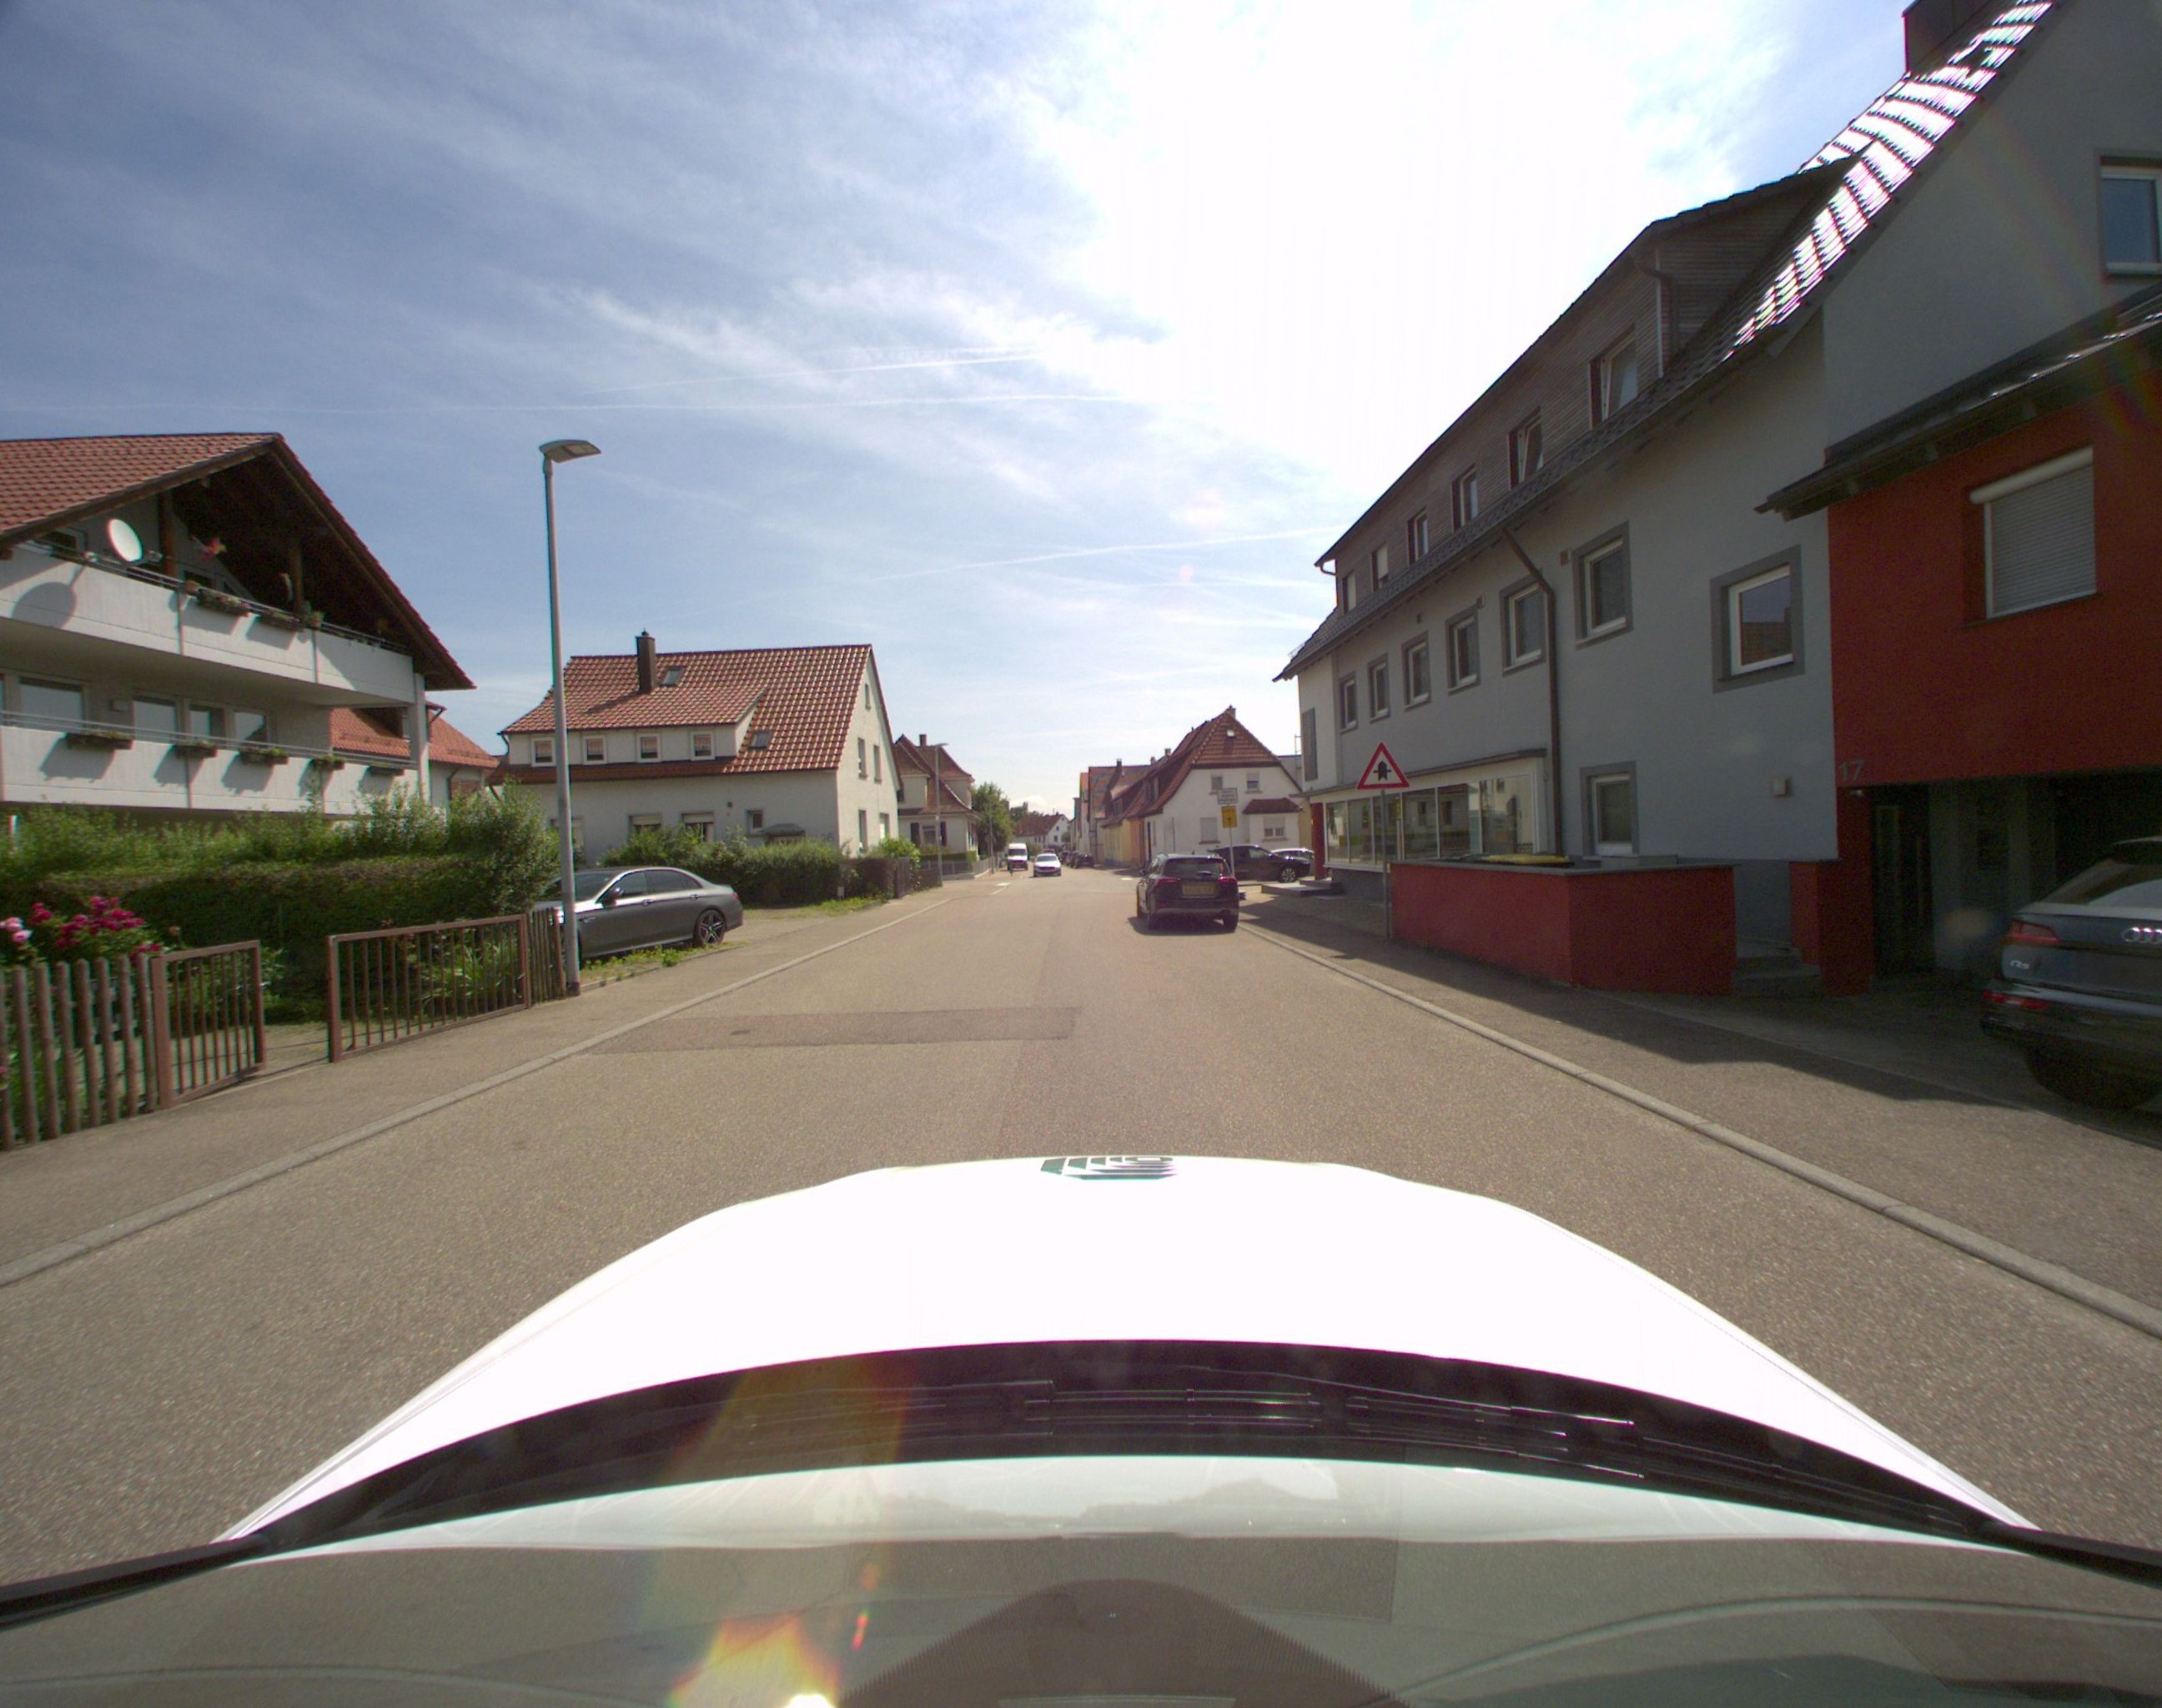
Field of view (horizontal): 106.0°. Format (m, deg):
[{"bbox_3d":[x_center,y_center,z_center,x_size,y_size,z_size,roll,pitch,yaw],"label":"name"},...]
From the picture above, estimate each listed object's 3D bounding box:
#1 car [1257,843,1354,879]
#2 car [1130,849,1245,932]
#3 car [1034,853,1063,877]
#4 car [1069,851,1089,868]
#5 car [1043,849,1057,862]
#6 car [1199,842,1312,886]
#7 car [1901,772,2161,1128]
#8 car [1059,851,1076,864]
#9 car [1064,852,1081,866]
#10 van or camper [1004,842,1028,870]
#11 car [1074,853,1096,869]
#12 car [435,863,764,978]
[{"bbox_3d":[10.253,0.289,37.400,3.972,1.504,1.695,-2,0,1],"label":"car"},{"bbox_3d":[2.133,0.678,17.487,1.757,1.527,4.403,-1,0,-2],"label":"car"},{"bbox_3d":[-2.141,0.670,53.167,1.749,1.438,4.583,-2,0,-3],"label":"car"},{"bbox_3d":[-0.220,0.496,80.204,1.725,1.599,4.248,-2,0,-3],"label":"car"},{"bbox_3d":[-5.784,0.271,152.151,2.120,2.158,4.739,-2,0,2],"label":"car"},{"bbox_3d":[7.094,0.389,33.430,4.274,1.653,1.850,-2,0,4],"label":"car"},{"bbox_3d":[7.247,0.579,4.146,4.357,1.668,1.875,4,0,-3],"label":"car"},{"bbox_3d":[-1.825,0.464,107.110,1.873,1.700,4.174,-2,0,-6],"label":"car"},{"bbox_3d":[-1.006,0.582,92.101,1.671,1.559,3.034,-2,0,-6],"label":"car"},{"bbox_3d":[-6.287,0.152,79.472,2.180,2.571,6.797,-1,0,-4],"label":"van or camper"},{"bbox_3d":[0.308,0.634,74.456,1.609,1.431,3.746,-2,0,-6],"label":"car"},{"bbox_3d":[-7.452,0.933,13.275,1.813,1.432,4.582,-2,0,15],"label":"car"}]
